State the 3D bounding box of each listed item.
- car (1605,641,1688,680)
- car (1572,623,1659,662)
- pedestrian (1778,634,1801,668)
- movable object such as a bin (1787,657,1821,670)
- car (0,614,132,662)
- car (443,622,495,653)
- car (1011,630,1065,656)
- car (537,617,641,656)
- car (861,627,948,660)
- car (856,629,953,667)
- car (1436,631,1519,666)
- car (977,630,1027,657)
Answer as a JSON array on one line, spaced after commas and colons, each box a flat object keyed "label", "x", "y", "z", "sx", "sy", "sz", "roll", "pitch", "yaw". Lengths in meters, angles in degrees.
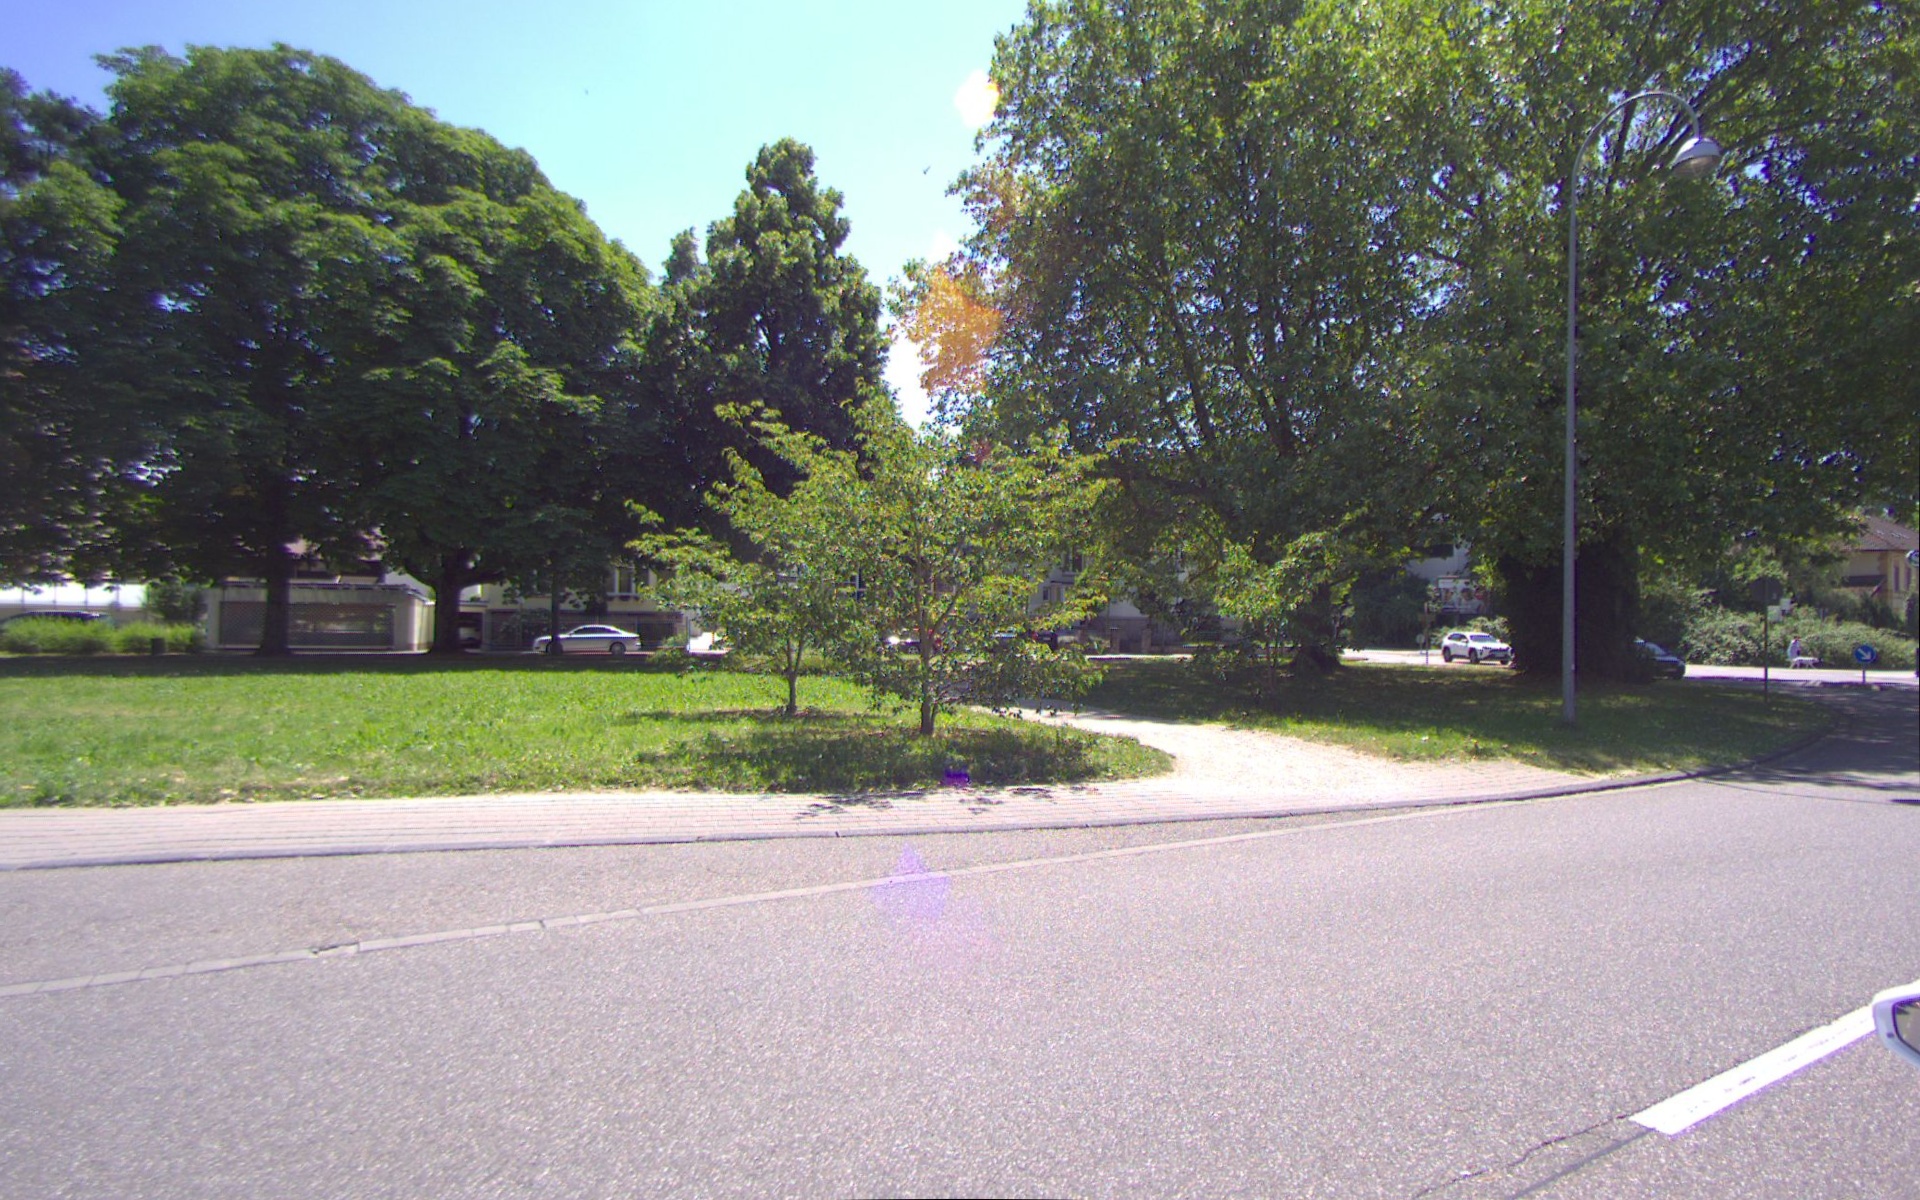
[{"label": "car", "x": 26.906, "y": 2.338, "z": 39.518, "sx": 1.613, "sy": 1.436, "sz": 4.001, "roll": -1, "pitch": -2, "yaw": 18}, {"label": "car", "x": 34.017, "y": 2.256, "z": 52.275, "sx": 1.904, "sy": 1.634, "sz": 4.476, "roll": 7, "pitch": -3, "yaw": 7}, {"label": "pedestrian", "x": 41.949, "y": 2.566, "z": 50.804, "sx": 0.605, "sy": 1.649, "sz": 0.700, "roll": 1, "pitch": 0, "yaw": 3}, {"label": "movable object such as a bin", "x": 42.003, "y": 3.147, "z": 49.971, "sx": 1.218, "sy": 0.602, "sz": 0.517, "roll": 1, "pitch": -1, "yaw": 5}, {"label": "car", "x": -34.886, "y": 1.459, "z": 38.797, "sx": 3.935, "sy": 1.802, "sz": 1.993, "roll": 1, "pitch": -1, "yaw": -16}, {"label": "car", "x": -26.509, "y": 2.017, "z": 54.381, "sx": 1.969, "sy": 1.606, "sz": 3.984, "roll": 1, "pitch": -1, "yaw": -18}, {"label": "car", "x": 4.666, "y": 2.581, "z": 60.540, "sx": 1.967, "sy": 1.445, "sz": 3.988, "roll": 2, "pitch": -1, "yaw": -15}, {"label": "car", "x": -17.592, "y": 1.727, "z": 47.858, "sx": 4.432, "sy": 1.802, "sz": 1.993, "roll": 1, "pitch": -1, "yaw": -16}, {"label": "car", "x": -2.964, "y": 2.261, "z": 52.802, "sx": 4.423, "sy": 1.639, "sz": 1.998, "roll": 1, "pitch": -1, "yaw": -8}, {"label": "car", "x": -2.741, "y": 2.343, "z": 49.354, "sx": 4.436, "sy": 1.802, "sz": 1.992, "roll": 1, "pitch": -1, "yaw": -19}, {"label": "car", "x": 27.705, "y": 2.598, "z": 53.954, "sx": 2.009, "sy": 1.770, "sz": 4.323, "roll": -1, "pitch": -2, "yaw": -3}, {"label": "car", "x": 2.420, "y": 2.528, "z": 58.742, "sx": 1.849, "sy": 1.453, "sz": 3.990, "roll": 2, "pitch": -1, "yaw": -13}]
